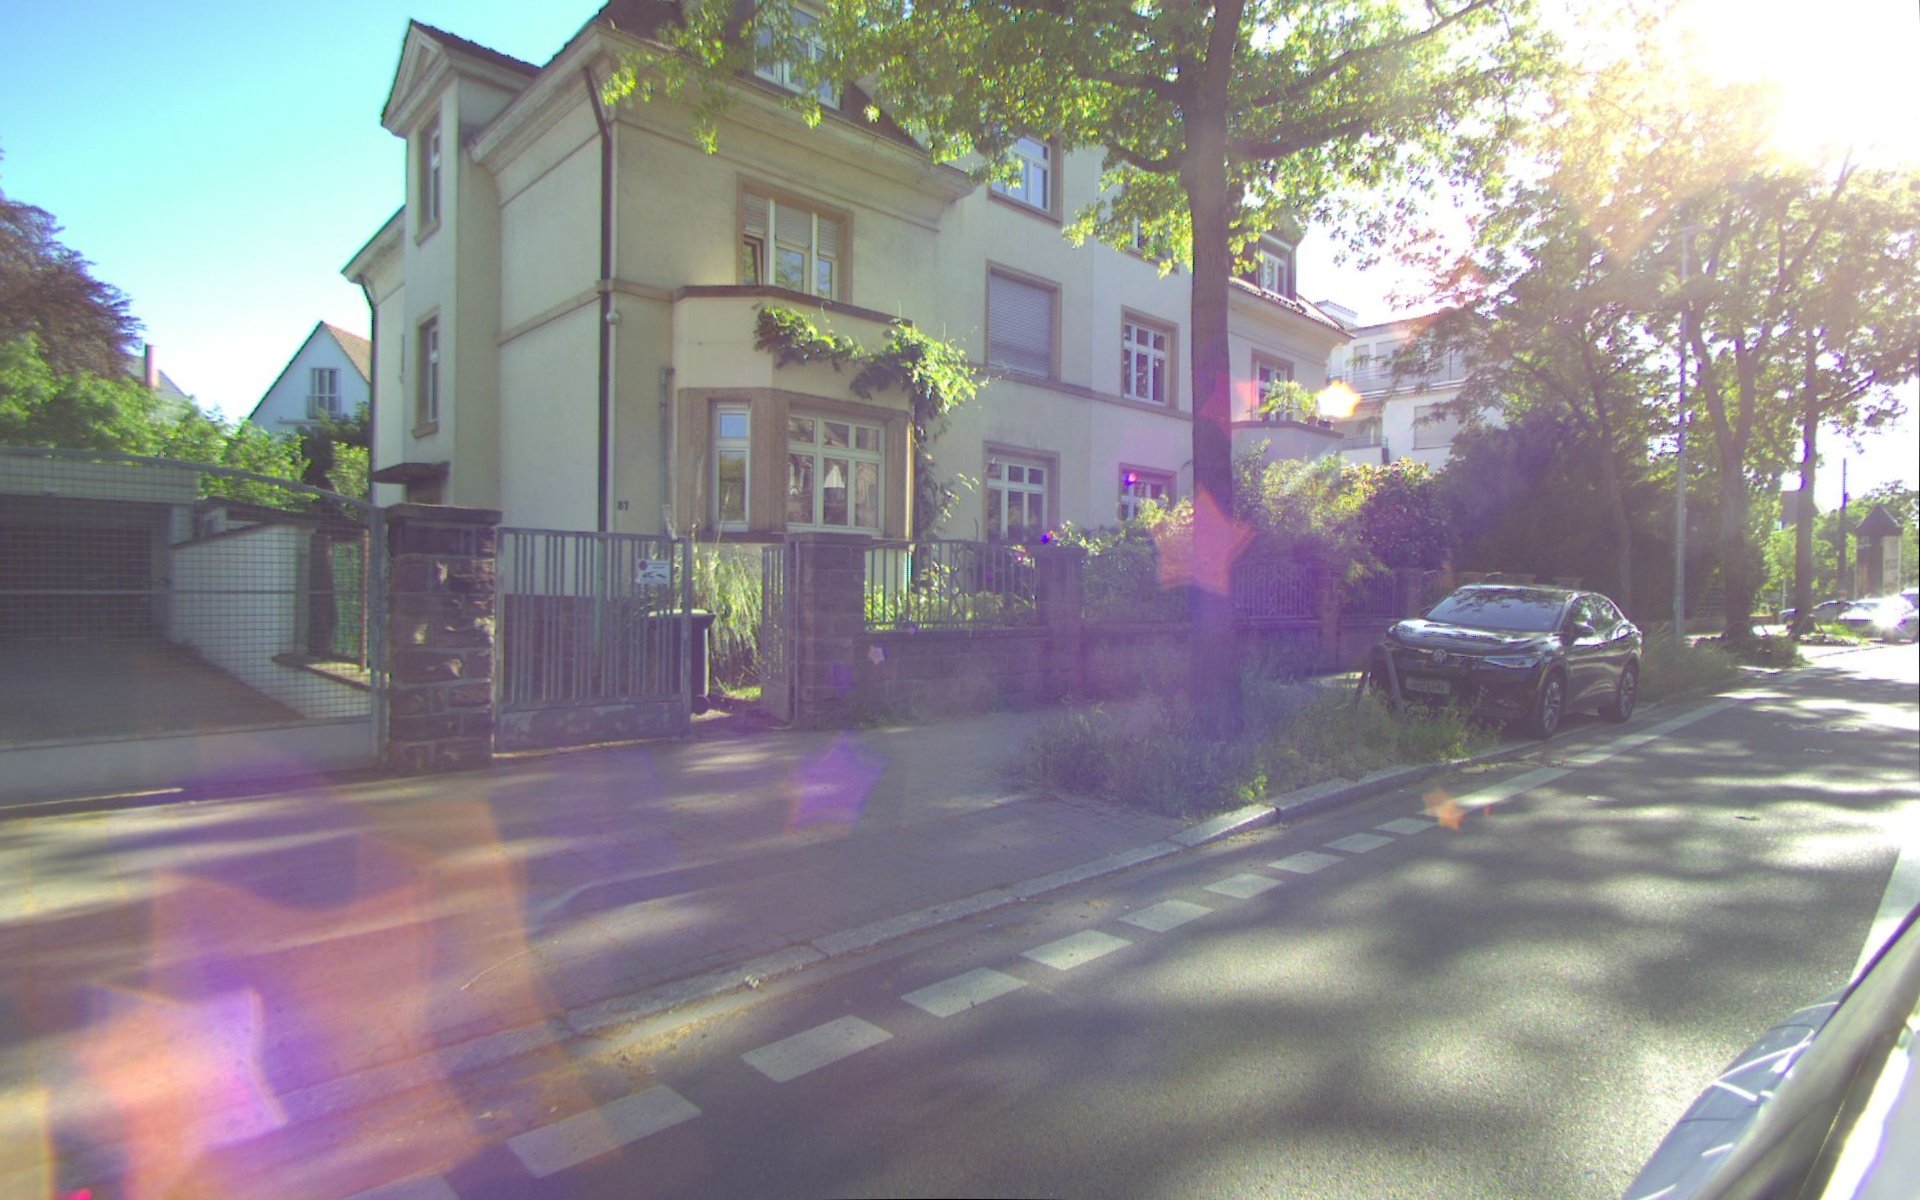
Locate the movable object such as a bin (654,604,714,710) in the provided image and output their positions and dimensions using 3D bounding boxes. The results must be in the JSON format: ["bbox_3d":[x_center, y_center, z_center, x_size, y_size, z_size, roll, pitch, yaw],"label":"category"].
[{"bbox_3d":[-2.917,0.583,10.675,0.551,1.062,0.676,0,0,-20],"label":"movable object such as a bin"}]

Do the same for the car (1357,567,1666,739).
[{"bbox_3d":[6.715,0.493,12.140,4.186,1.619,1.917,0,4,-42],"label":"car"}]

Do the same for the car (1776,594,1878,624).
[{"bbox_3d":[46.073,0.446,53.843,1.784,1.459,3.990,0,1,-44],"label":"car"}]

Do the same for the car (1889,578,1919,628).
[{"bbox_3d":[36.678,0.120,37.859,4.580,1.808,1.903,0,1,-35],"label":"car"}]

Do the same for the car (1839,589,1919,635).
[{"bbox_3d":[31.518,0.374,34.277,4.181,1.427,1.901,0,1,-38],"label":"car"}]
